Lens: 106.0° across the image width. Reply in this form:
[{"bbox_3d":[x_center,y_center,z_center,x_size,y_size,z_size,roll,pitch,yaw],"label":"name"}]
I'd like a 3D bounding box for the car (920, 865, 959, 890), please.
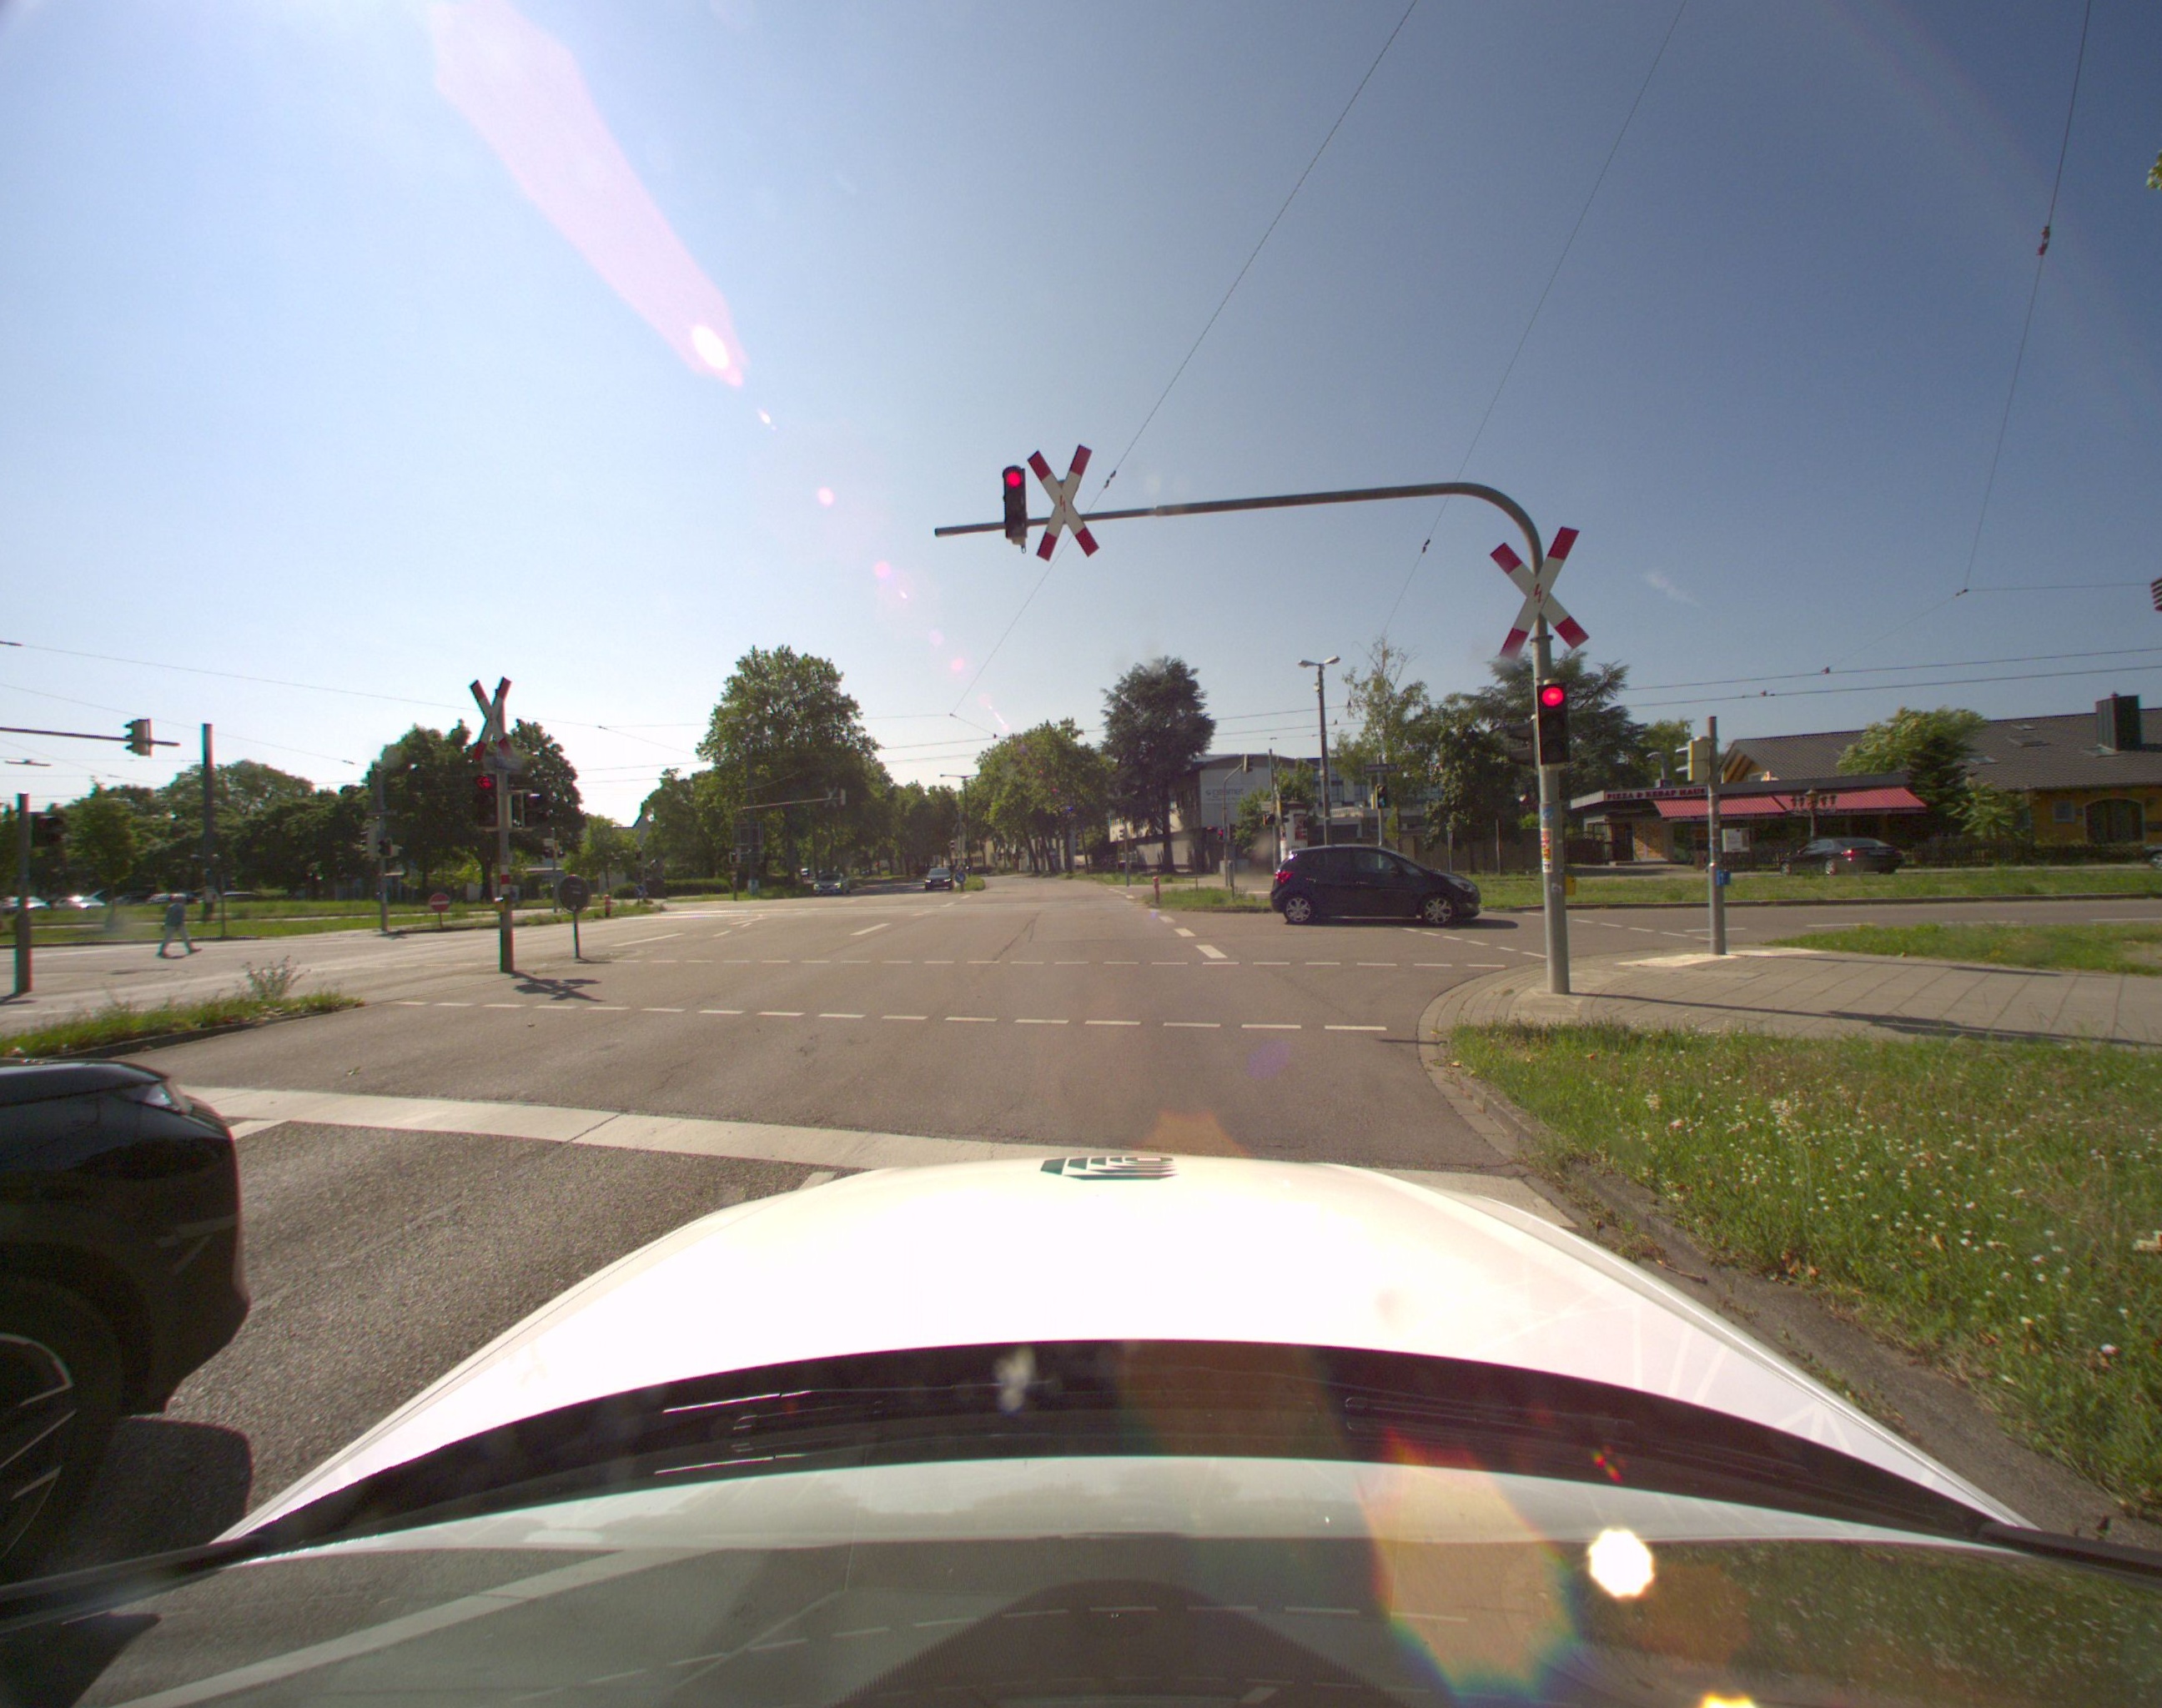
[{"bbox_3d":[-9.319,1.527,53.970,1.687,1.508,4.131,-2,-1,2],"label":"car"}]

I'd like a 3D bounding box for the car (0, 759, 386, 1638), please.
[{"bbox_3d":[-3.073,0.669,0.214,1.865,1.696,4.437,-1,0,2],"label":"car"}]

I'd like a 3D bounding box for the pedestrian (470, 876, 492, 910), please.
[{"bbox_3d":[-35.933,2.337,48.784,0.794,2.013,0.709,-2,-1,-14],"label":"pedestrian"}]

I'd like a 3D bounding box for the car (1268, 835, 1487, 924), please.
[{"bbox_3d":[6.001,0.493,16.618,3.952,1.655,1.804,-1,0,23],"label":"car"}]

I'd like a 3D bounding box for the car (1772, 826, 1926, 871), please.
[{"bbox_3d":[28.978,-0.128,31.015,2.119,1.499,5.141,-2,-2,17],"label":"car"}]

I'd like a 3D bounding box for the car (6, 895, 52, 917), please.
[{"bbox_3d":[-73.338,3.635,56.777,3.299,1.446,1.357,-2,-1,27],"label":"car"}]

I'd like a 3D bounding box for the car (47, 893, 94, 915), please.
[{"bbox_3d":[-72.475,3.614,58.391,3.299,1.446,1.457,-2,-1,27],"label":"car"}]

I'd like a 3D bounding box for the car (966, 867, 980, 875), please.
[{"bbox_3d":[-19.800,3.111,149.463,1.712,1.487,4.075,-2,0,-18],"label":"car"}]

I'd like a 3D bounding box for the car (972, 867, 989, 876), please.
[{"bbox_3d":[-17.760,3.032,144.132,1.714,1.487,4.683,-3,0,-22],"label":"car"}]

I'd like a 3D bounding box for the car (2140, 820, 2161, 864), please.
[{"bbox_3d":[38.577,-0.462,26.698,2.132,1.499,4.199,-1,-1,-5],"label":"car"}]

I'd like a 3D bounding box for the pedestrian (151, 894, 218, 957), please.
[{"bbox_3d":[-22.604,1.788,20.548,0.694,1.501,0.870,-2,-1,1],"label":"pedestrian"}]

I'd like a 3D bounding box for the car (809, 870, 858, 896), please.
[{"bbox_3d":[-16.460,1.917,54.404,1.687,1.508,4.663,-2,-1,2],"label":"car"}]
